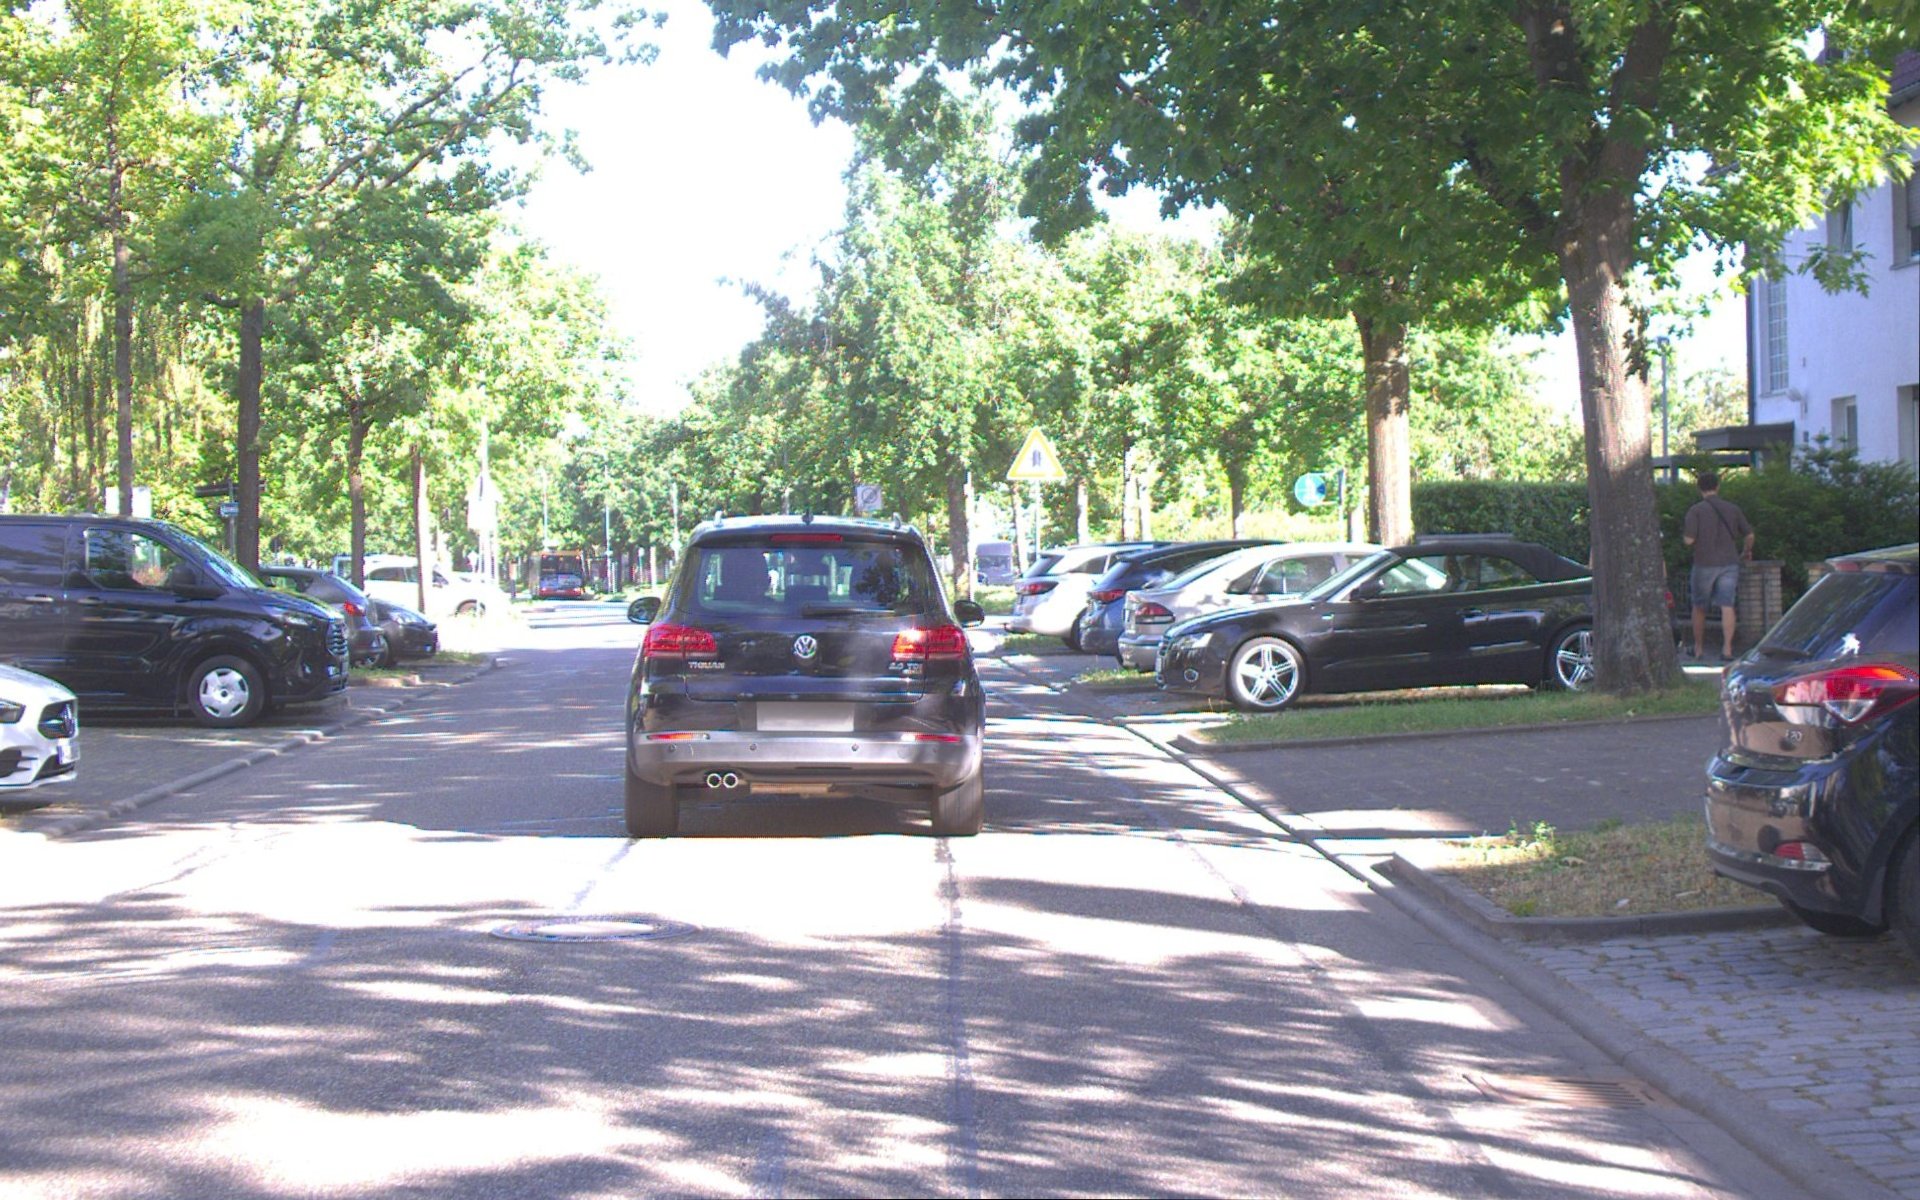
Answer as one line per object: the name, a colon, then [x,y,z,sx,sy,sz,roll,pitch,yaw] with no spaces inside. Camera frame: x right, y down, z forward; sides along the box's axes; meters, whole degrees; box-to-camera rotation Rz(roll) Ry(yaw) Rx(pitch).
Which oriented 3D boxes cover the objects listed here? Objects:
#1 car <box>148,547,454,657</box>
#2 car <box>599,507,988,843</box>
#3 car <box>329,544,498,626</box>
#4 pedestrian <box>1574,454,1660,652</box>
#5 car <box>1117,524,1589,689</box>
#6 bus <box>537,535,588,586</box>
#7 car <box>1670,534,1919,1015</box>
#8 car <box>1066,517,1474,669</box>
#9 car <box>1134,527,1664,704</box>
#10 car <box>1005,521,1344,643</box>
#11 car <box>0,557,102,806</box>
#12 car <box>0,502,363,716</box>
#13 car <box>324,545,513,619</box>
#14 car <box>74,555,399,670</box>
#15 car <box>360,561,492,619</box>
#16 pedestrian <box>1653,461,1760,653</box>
car: [-8.940,0.013,46.853,3.857,1.454,1.713,0,1,-1]
car: [-0.797,0.336,18.772,1.838,1.631,3.958,0,1,1]
car: [-13.622,-0.394,85.872,4.015,1.833,1.897,-2,2,-6]
pedestrian: [6.322,-0.446,33.088,0.608,1.867,0.924,-1,0,0]
car: [3.721,0.039,33.066,4.276,1.409,1.797,-2,1,-1]
bus: [-24.218,-2.363,209.537,2.928,2.993,5.738,-1,0,-6]
car: [4.551,0.506,11.708,3.882,1.511,1.661,-1,0,0]
car: [3.379,-0.097,38.023,4.276,1.498,1.797,-2,1,-1]
car: [3.801,0.121,30.272,4.345,1.358,1.874,-2,0,-2]
car: [2.881,-0.258,46.777,4.428,1.486,1.797,-2,1,-1]
car: [-7.700,0.472,21.434,4.275,1.473,1.769,0,1,-1]
car: [-8.065,0.057,31.873,4.778,1.910,2.019,0,1,-3]
car: [-12.630,-0.424,80.416,4.241,1.617,1.897,-1,0,-6]
car: [-9.167,0.140,43.779,3.818,1.414,1.772,0,1,-3]
car: [-17.097,-0.321,110.231,4.015,1.642,1.811,-2,2,-6]
pedestrian: [7.242,-0.412,33.378,0.835,1.822,0.710,-1,0,0]
